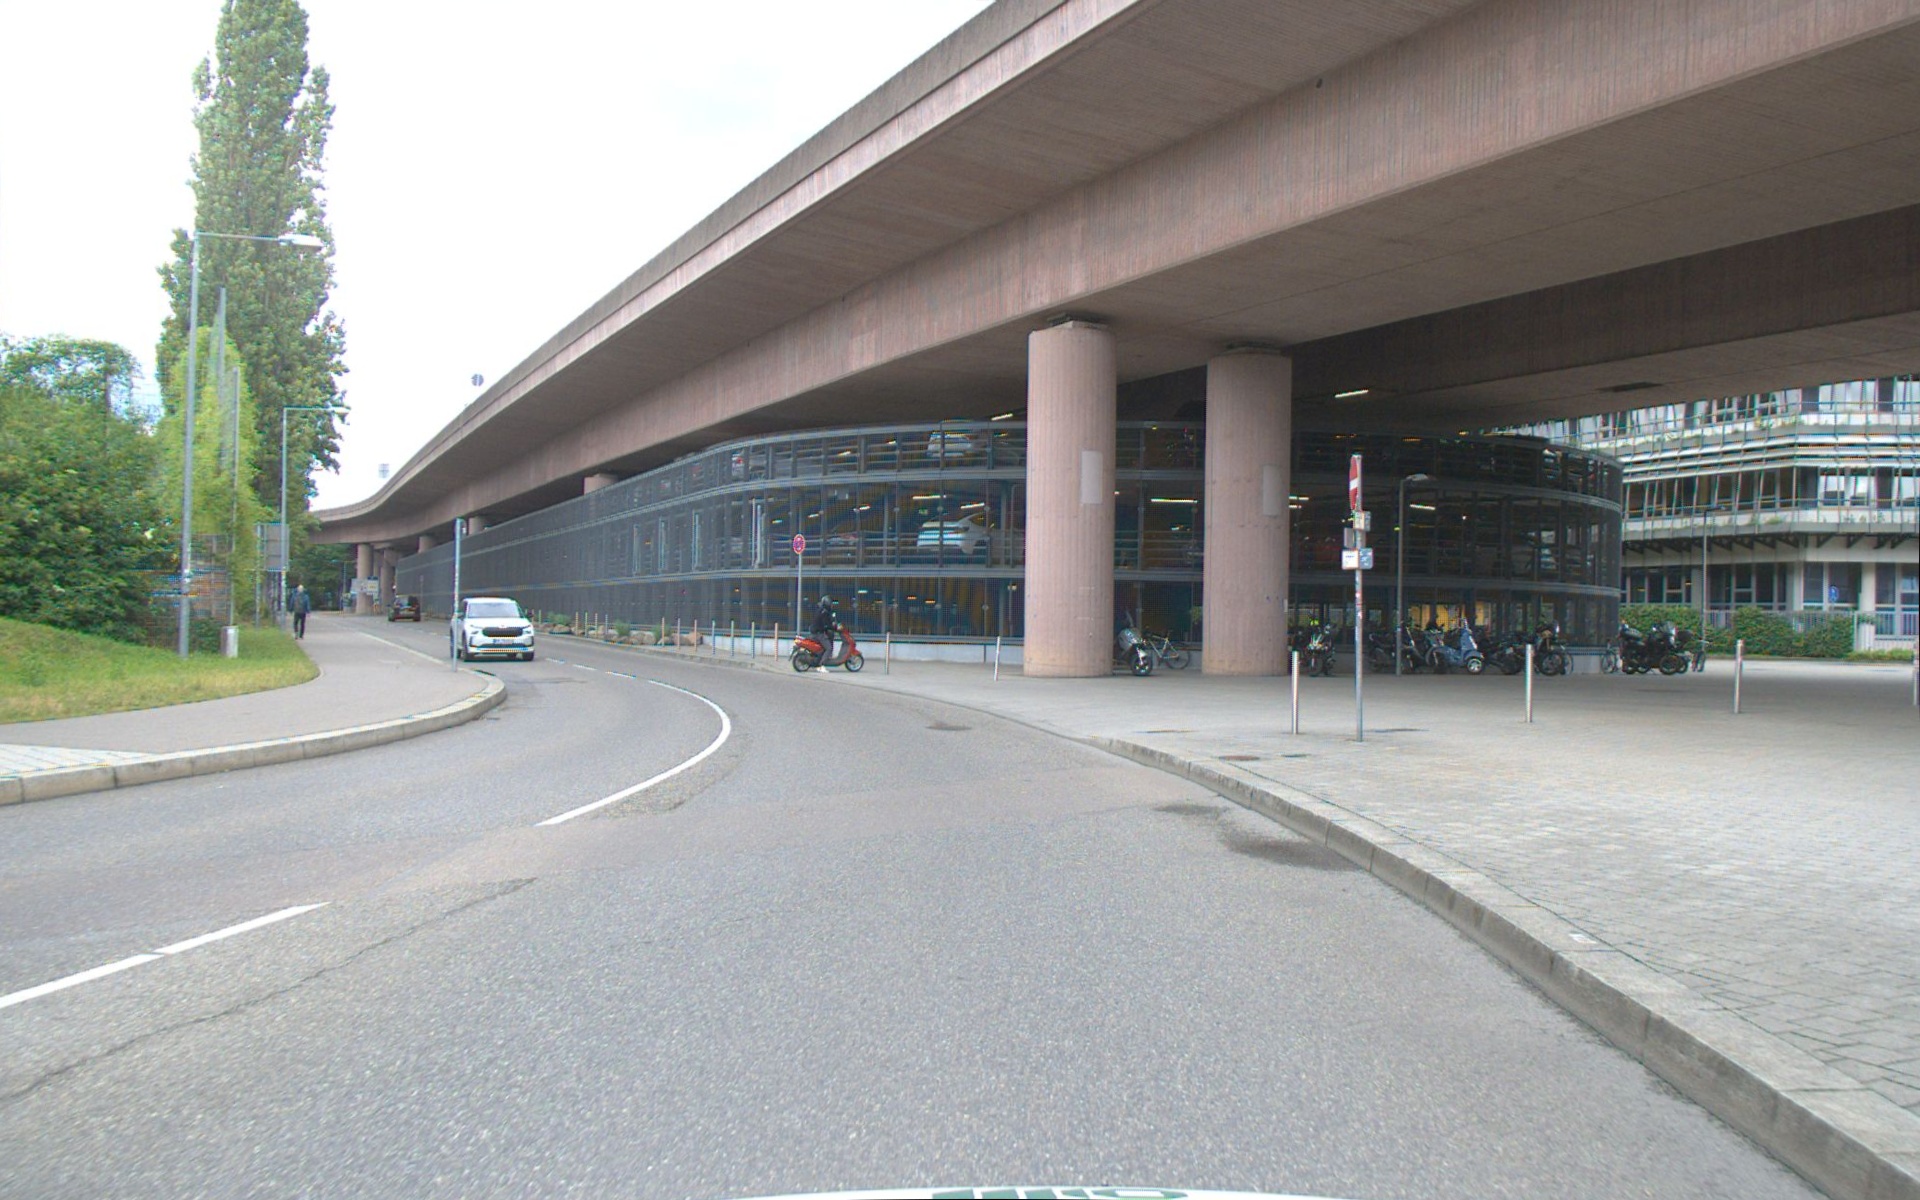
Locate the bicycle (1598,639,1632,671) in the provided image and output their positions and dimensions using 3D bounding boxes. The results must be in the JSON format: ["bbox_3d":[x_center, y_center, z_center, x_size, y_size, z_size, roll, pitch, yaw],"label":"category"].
[{"bbox_3d":[19.889,1.651,50.201,0.467,0.911,1.497,1,1,41],"label":"bicycle"}]

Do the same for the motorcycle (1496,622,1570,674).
[{"bbox_3d":[15.261,1.266,44.088,0.662,1.308,2.065,1,1,-22],"label":"motorcycle"}]

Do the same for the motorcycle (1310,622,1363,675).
[{"bbox_3d":[9.432,1.199,41.507,0.813,1.241,2.078,1,1,-1],"label":"motorcycle"}]

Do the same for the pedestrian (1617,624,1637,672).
[{"bbox_3d":[29.045,2.096,72.033,0.518,2.049,0.572,2,-1,-14],"label":"pedestrian"}]

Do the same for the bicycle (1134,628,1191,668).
[{"bbox_3d":[5.288,1.260,43.207,1.441,0.993,0.452,1,0,2],"label":"bicycle"}]

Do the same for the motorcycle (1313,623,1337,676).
[{"bbox_3d":[8.403,1.141,38.094,0.509,1.191,1.151,1,-2,13],"label":"motorcycle"}]

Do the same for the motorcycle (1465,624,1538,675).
[{"bbox_3d":[14.263,1.286,43.614,0.662,1.241,2.065,1,1,-22],"label":"motorcycle"}]

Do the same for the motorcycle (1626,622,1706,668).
[{"bbox_3d":[20.636,1.296,48.380,0.662,1.241,2.348,1,1,-22],"label":"motorcycle"}]

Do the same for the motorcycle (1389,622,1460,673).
[{"bbox_3d":[12.051,1.225,42.979,0.662,1.241,2.065,1,1,-22],"label":"motorcycle"}]

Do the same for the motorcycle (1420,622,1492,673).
[{"bbox_3d":[13.042,1.234,43.522,0.662,1.241,2.065,1,1,-22],"label":"motorcycle"}]

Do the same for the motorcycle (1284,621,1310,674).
[{"bbox_3d":[8.232,1.161,40.455,0.509,1.241,1.151,1,1,7],"label":"motorcycle"}]

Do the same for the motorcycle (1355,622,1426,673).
[{"bbox_3d":[11.104,1.212,42.725,0.662,1.241,2.065,1,1,-22],"label":"motorcycle"}]

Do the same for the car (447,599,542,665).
[{"bbox_3d":[-12.799,0.883,45.310,1.840,1.713,4.370,1,-1,-25],"label":"car"}]

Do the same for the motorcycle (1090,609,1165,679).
[{"bbox_3d":[3.754,0.970,37.142,0.637,1.480,1.738,1,1,-39],"label":"motorcycle"}]

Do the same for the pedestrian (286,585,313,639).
[{"bbox_3d":[-22.485,0.401,56.289,0.793,1.812,0.914,1,0,-23],"label":"pedestrian"}]

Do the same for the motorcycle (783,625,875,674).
[{"bbox_3d":[-2.910,1.100,36.749,1.922,1.040,0.744,1,1,-21],"label":"motorcycle"}]

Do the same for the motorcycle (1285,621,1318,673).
[{"bbox_3d":[8.628,1.181,41.816,0.510,1.241,1.149,1,1,-5],"label":"motorcycle"}]

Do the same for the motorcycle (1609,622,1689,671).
[{"bbox_3d":[19.711,1.308,47.390,0.662,1.298,2.348,1,1,-22],"label":"motorcycle"}]

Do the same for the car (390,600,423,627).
[{"bbox_3d":[-37.208,0.909,111.126,1.814,1.741,3.680,1,1,-23],"label":"car"}]

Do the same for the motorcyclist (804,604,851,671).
[{"bbox_3d":[-2.947,0.824,36.733,0.854,1.444,0.760,1,0,-20],"label":"motorcyclist"}]
